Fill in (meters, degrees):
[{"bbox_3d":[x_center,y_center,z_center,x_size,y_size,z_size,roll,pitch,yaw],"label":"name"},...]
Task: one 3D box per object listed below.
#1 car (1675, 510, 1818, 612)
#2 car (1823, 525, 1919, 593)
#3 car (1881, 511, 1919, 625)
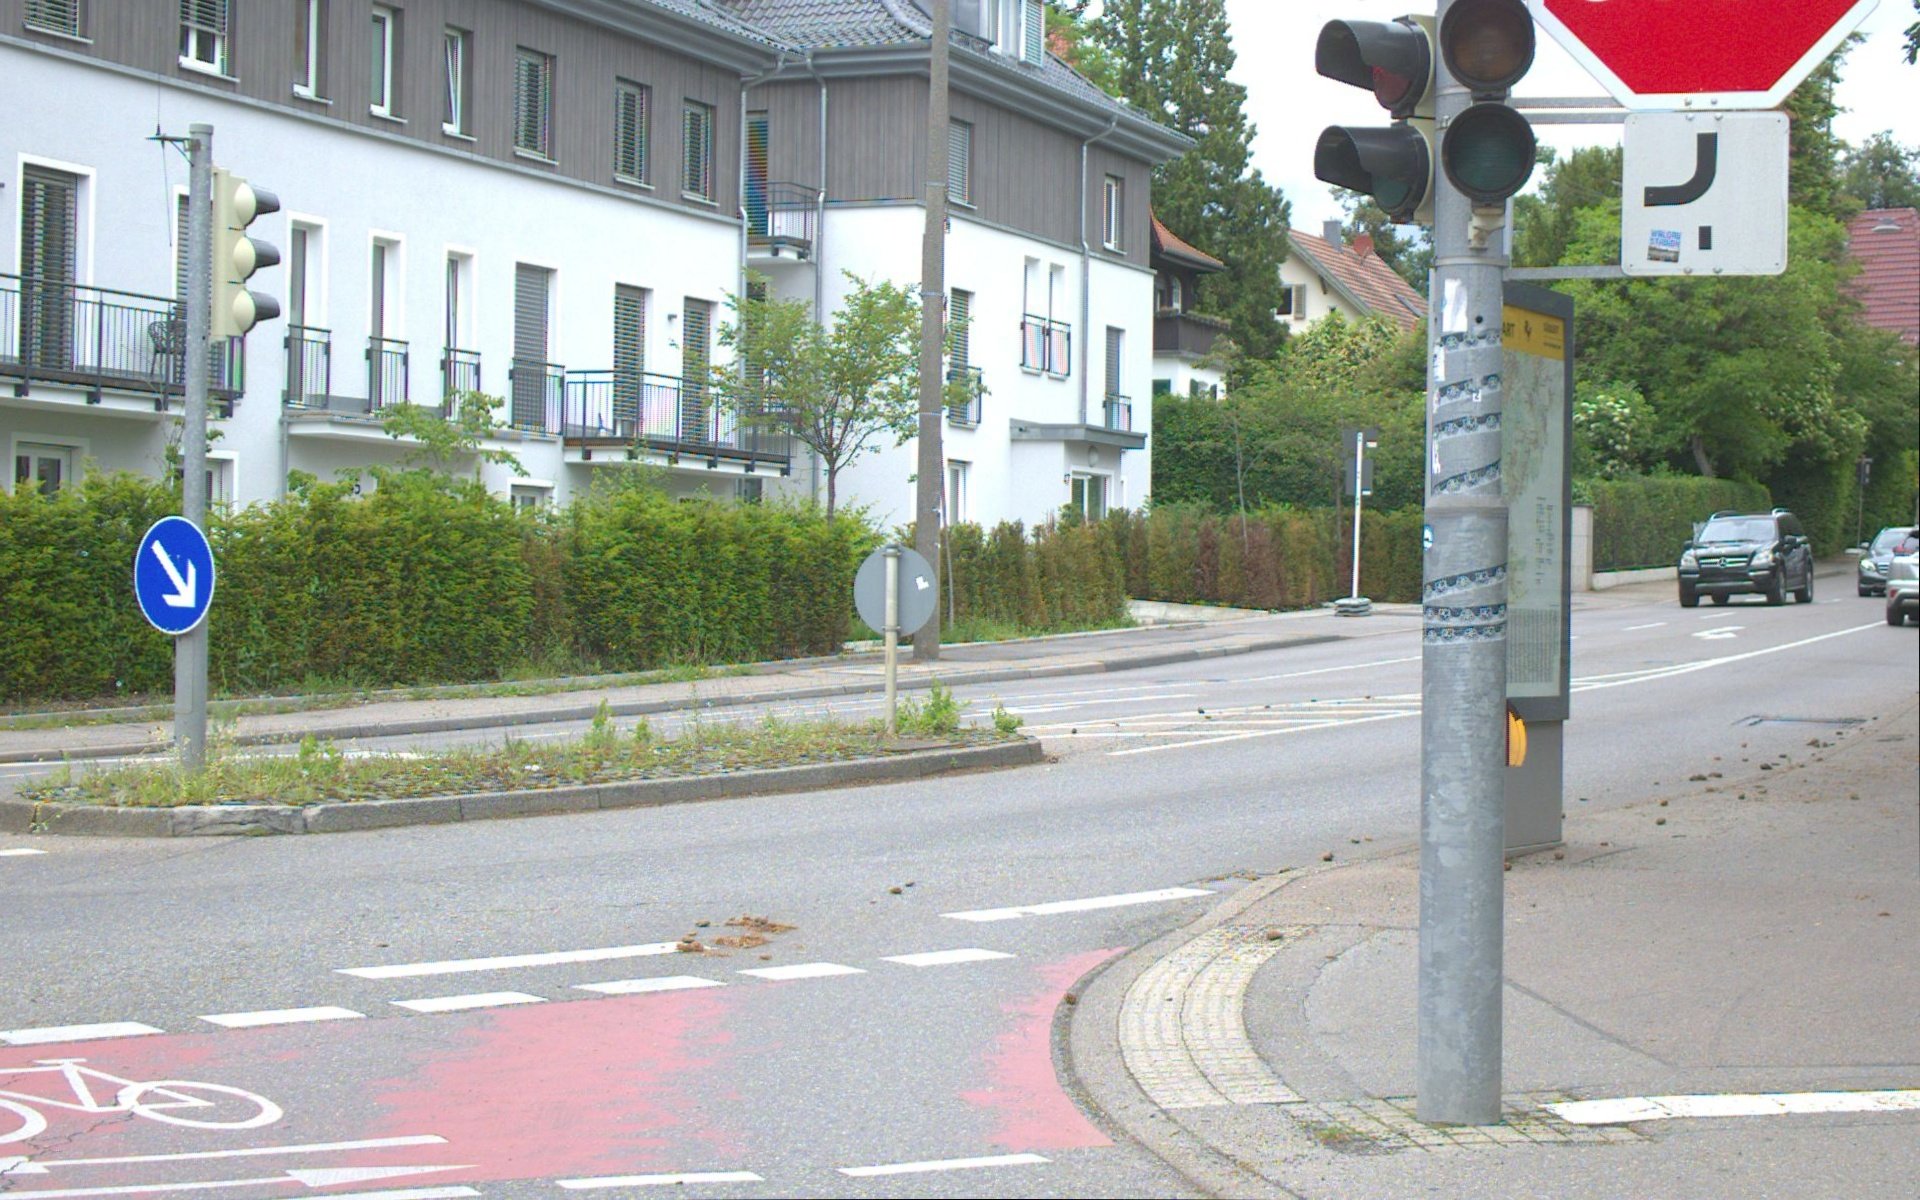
[{"bbox_3d":[15.203,-0.745,66.280,1.914,1.874,5.136,-1,0,22],"label":"car"},{"bbox_3d":[19.908,-0.916,73.962,1.941,1.399,4.737,1,2,22],"label":"car"},{"bbox_3d":[15.846,-0.540,54.886,1.809,1.747,4.483,0,1,20],"label":"car"}]
